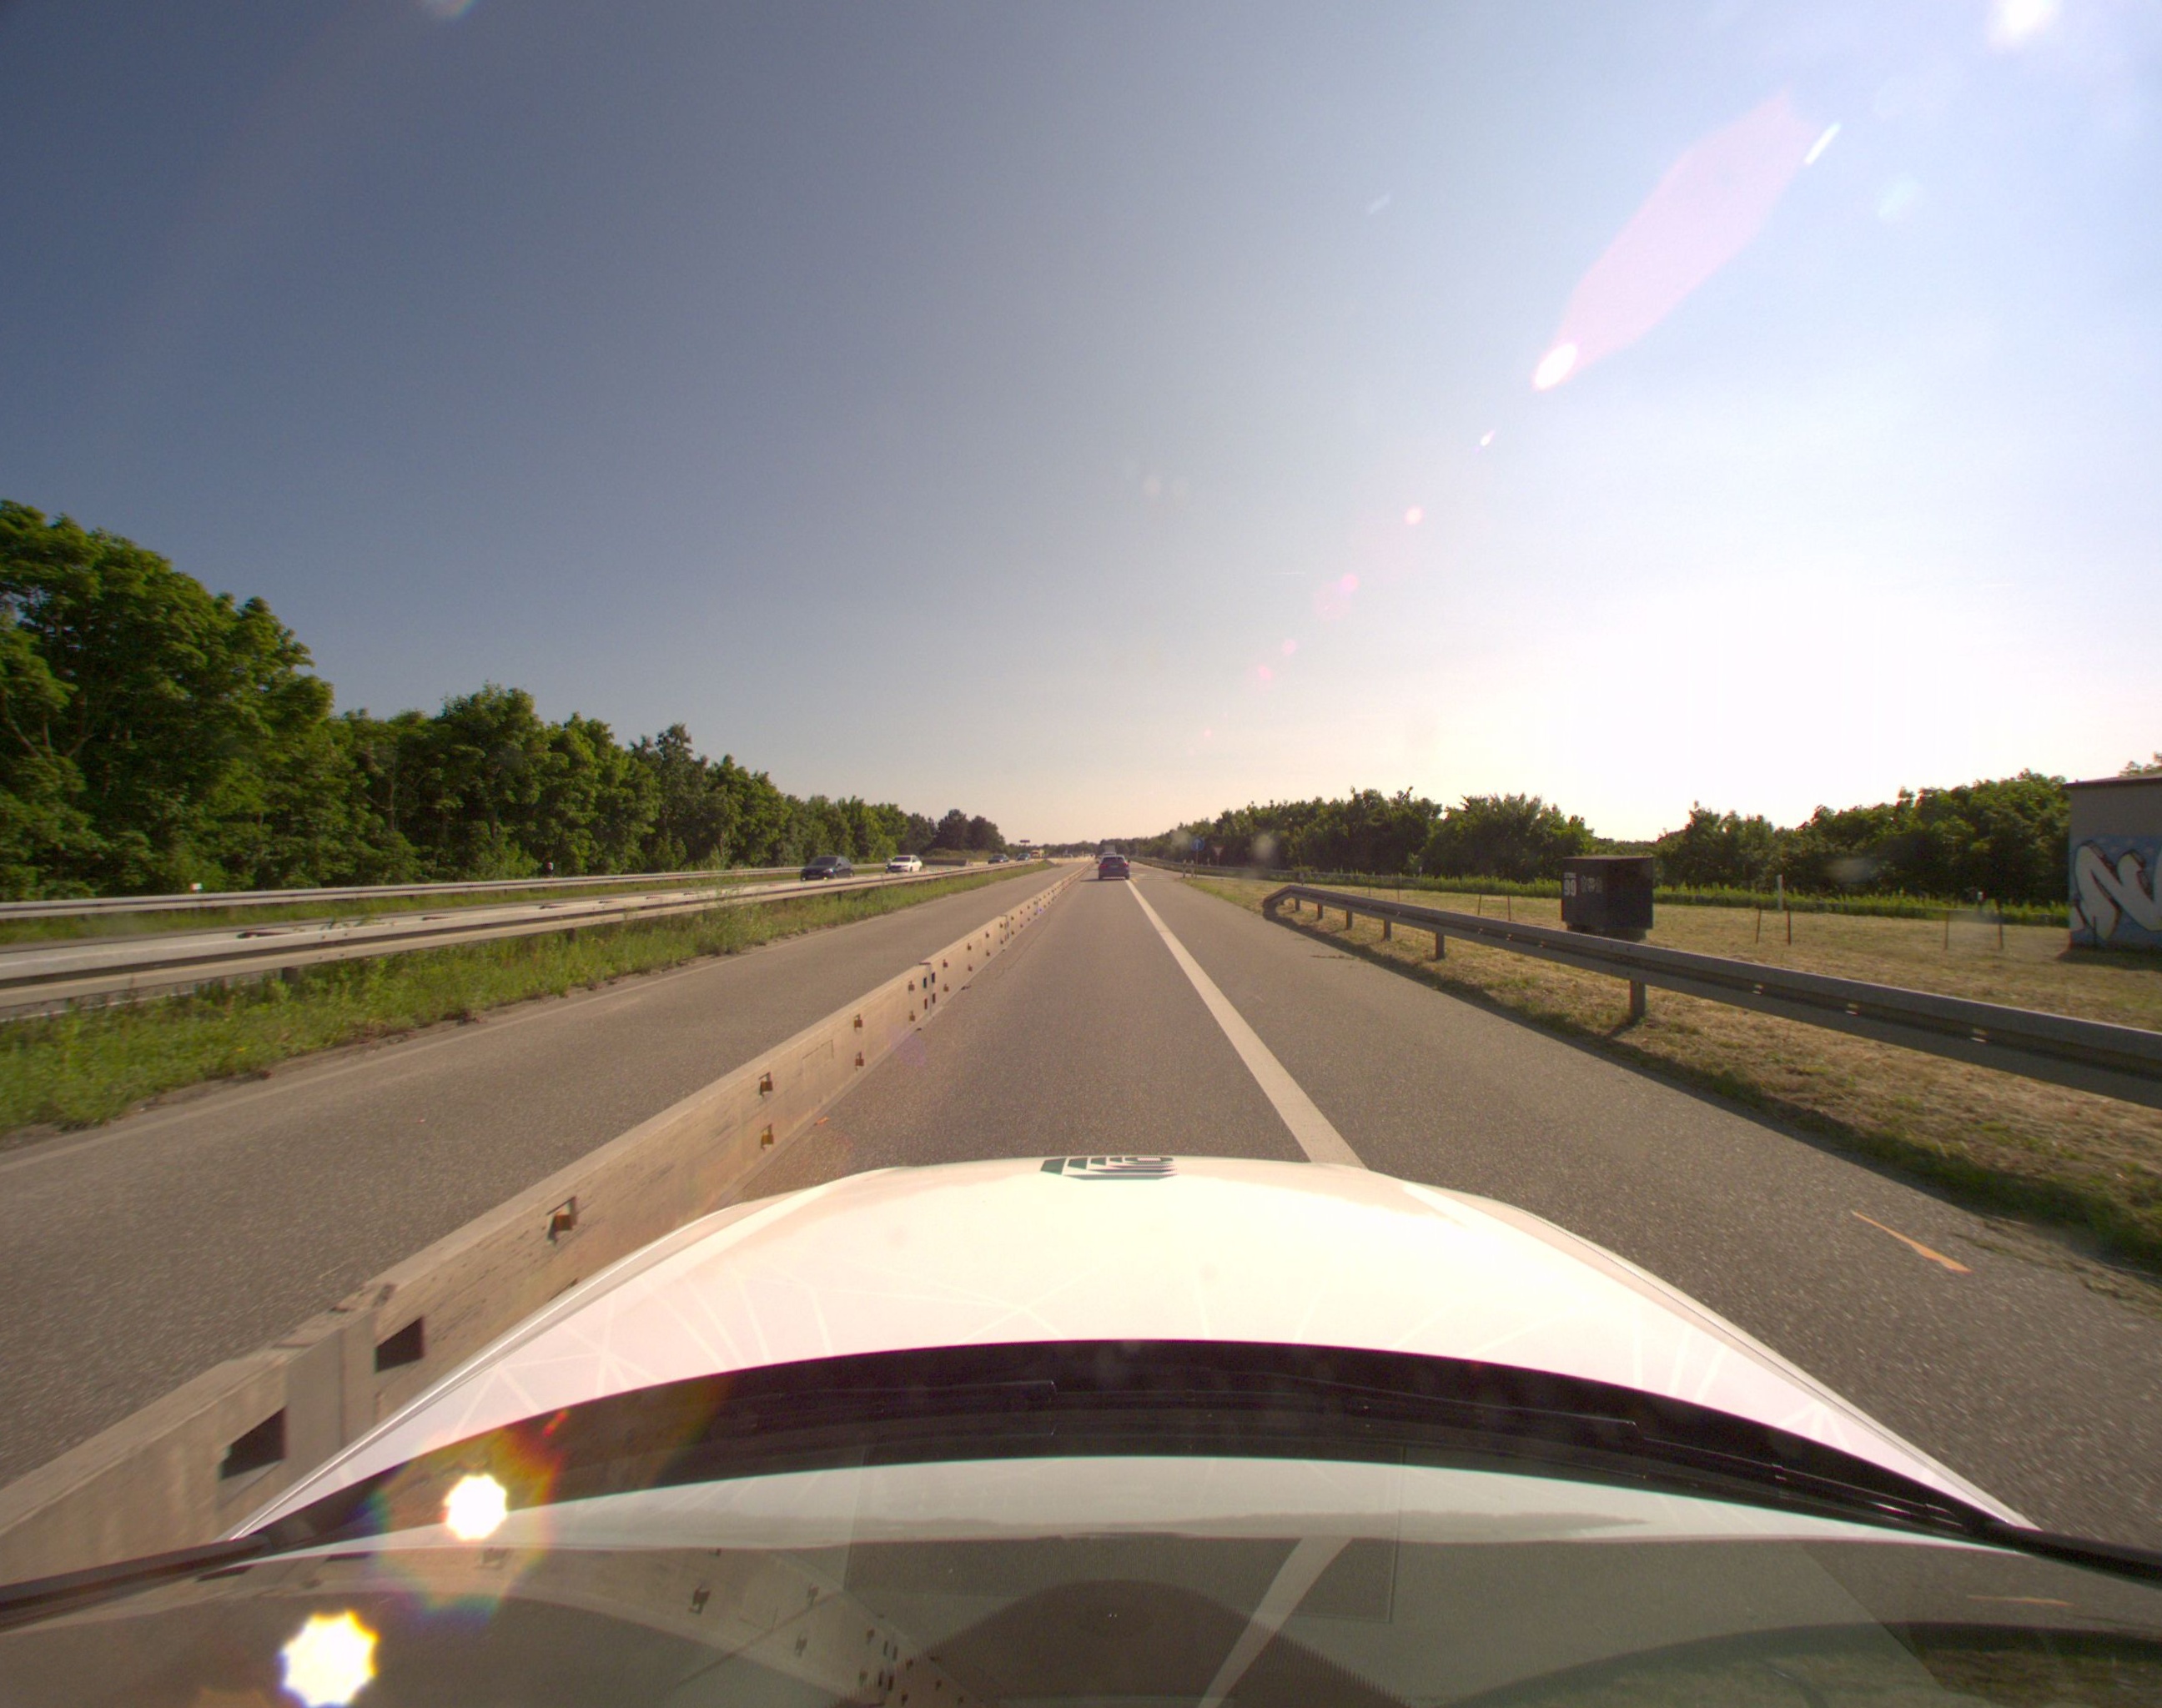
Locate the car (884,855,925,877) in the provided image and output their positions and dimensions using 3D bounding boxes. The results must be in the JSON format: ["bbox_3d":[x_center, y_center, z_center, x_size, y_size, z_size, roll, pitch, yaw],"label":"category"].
[{"bbox_3d":[-12.492,0.809,57.844,1.753,1.470,4.795,0,0,1],"label":"car"}]

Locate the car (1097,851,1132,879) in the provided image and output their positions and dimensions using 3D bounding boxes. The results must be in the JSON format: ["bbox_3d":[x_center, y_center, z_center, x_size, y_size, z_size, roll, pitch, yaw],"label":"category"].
[{"bbox_3d":[1.917,0.630,47.534,1.914,1.494,4.000,-2,0,0],"label":"car"}]

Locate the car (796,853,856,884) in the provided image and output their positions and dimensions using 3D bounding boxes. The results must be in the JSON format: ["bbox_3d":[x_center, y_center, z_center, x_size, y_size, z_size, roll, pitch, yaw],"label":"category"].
[{"bbox_3d":[-13.121,0.726,42.112,1.732,1.494,4.111,0,0,1],"label":"car"}]

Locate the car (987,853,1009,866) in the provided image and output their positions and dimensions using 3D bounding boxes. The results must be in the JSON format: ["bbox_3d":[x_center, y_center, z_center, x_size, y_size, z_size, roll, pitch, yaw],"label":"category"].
[{"bbox_3d":[-9.914,0.638,97.351,1.808,1.488,5.028,0,0,4],"label":"car"}]

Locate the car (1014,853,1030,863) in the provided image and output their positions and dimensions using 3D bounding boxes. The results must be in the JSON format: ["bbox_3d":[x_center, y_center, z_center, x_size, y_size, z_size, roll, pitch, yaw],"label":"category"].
[{"bbox_3d":[-8.680,0.584,119.443,1.790,1.434,4.595,-1,0,3],"label":"car"}]

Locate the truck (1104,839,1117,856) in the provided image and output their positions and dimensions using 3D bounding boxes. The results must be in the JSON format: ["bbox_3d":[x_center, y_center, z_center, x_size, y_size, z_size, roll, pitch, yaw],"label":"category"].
[{"bbox_3d":[8.860,-1.810,244.147,3.747,4.911,14.139,0,0,1],"label":"truck"}]

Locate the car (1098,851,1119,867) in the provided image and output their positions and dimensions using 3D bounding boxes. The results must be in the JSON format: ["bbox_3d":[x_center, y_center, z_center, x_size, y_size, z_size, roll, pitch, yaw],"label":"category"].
[{"bbox_3d":[2.667,0.464,78.913,1.986,1.567,4.002,0,0,2],"label":"car"}]

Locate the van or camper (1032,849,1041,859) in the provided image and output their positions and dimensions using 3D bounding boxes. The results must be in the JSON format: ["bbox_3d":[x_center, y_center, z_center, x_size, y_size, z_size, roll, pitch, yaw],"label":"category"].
[{"bbox_3d":[-11.241,0.019,206.549,1.990,2.377,6.192,-3,0,-4],"label":"van or camper"}]
